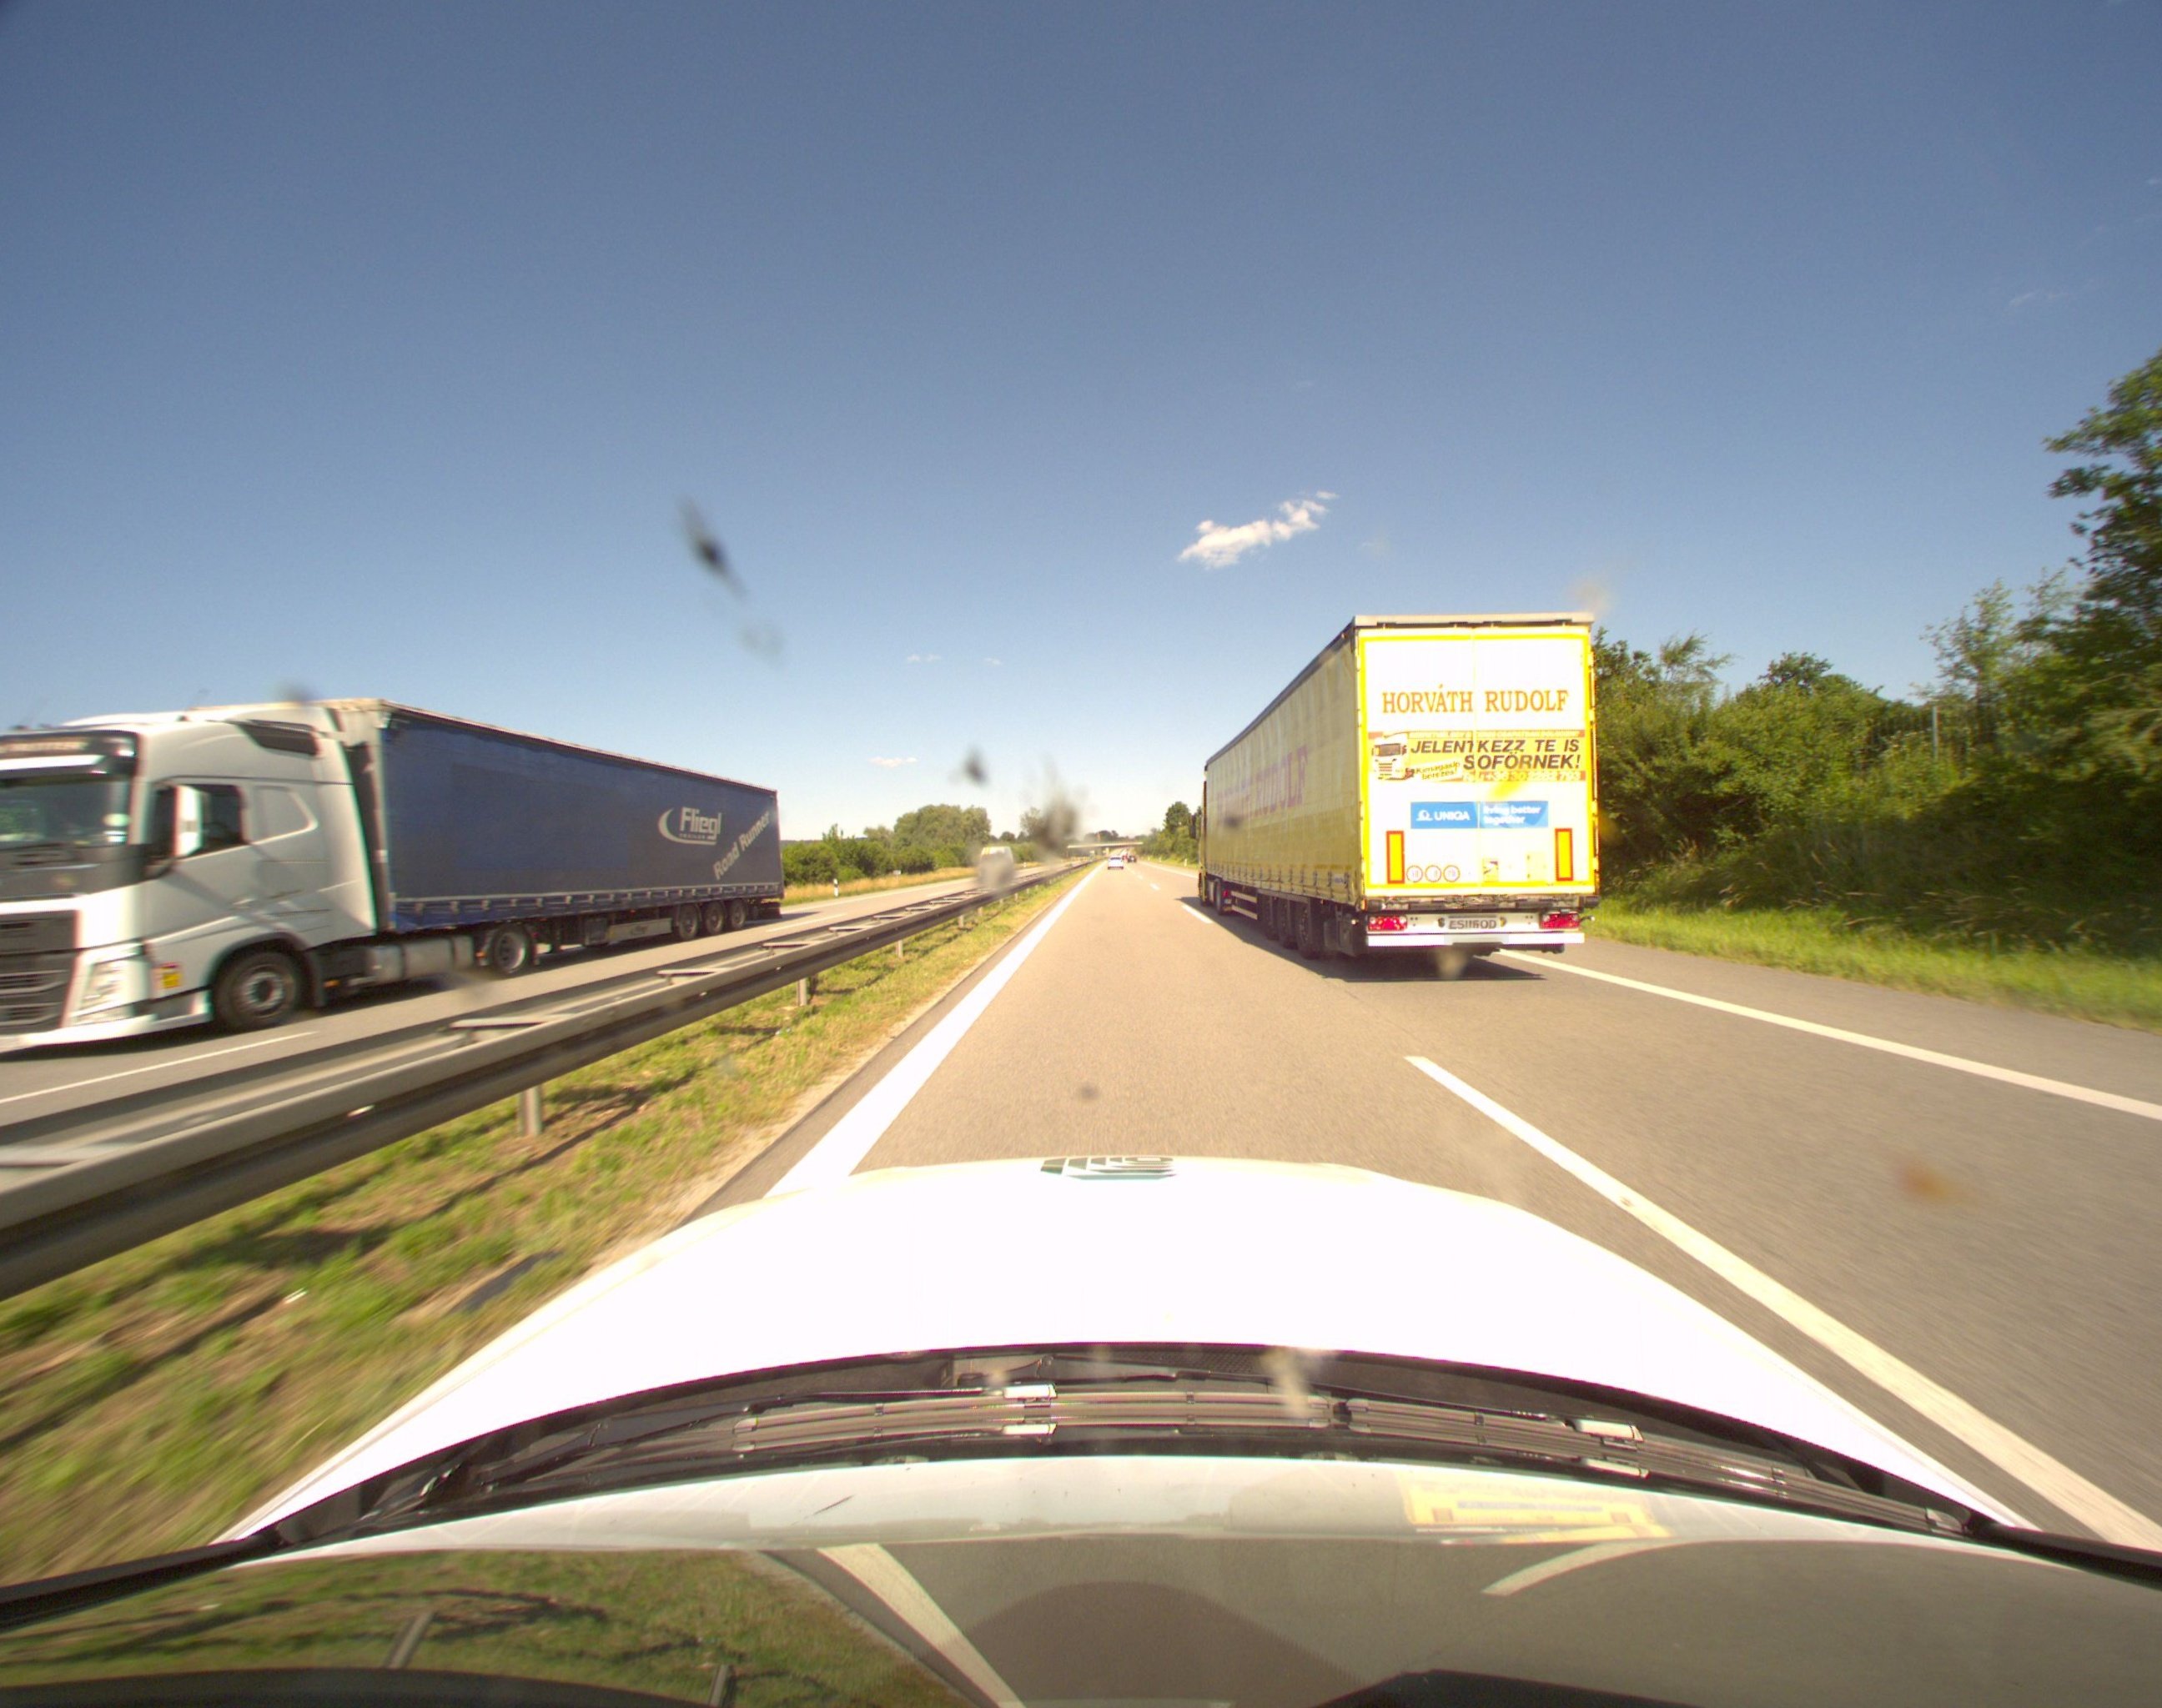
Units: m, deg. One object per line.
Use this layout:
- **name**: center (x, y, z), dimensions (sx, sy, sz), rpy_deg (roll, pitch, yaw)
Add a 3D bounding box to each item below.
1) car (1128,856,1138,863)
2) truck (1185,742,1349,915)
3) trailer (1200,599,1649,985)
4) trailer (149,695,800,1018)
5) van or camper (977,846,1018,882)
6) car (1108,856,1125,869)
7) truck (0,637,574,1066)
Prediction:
- **car**: center (10.261, 1.098, 160.875), dimensions (1.836, 1.520, 4.002), rpy_deg (0, 0, 2)
- **truck**: center (4.833, -0.585, 22.601), dimensions (3.158, 4.114, 6.389), rpy_deg (0, 0, 1)
- **trailer**: center (4.588, -0.611, 15.201), dimensions (3.172, 4.059, 13.191), rpy_deg (0, 0, 2)
- **trailer**: center (-10.590, 0.080, 18.126), dimensions (3.174, 4.059, 14.597), rpy_deg (-4, 0, 1)
- **van or camper**: center (-6.240, 0.731, 61.586), dimensions (1.986, 2.496, 7.230), rpy_deg (-4, -1, 2)
- **car**: center (3.950, 0.906, 90.647), dimensions (1.836, 1.415, 4.002), rpy_deg (0, 0, 2)
- **truck**: center (-10.700, 0.043, 11.174), dimensions (3.158, 4.114, 6.389), rpy_deg (-4, 0, 1)
